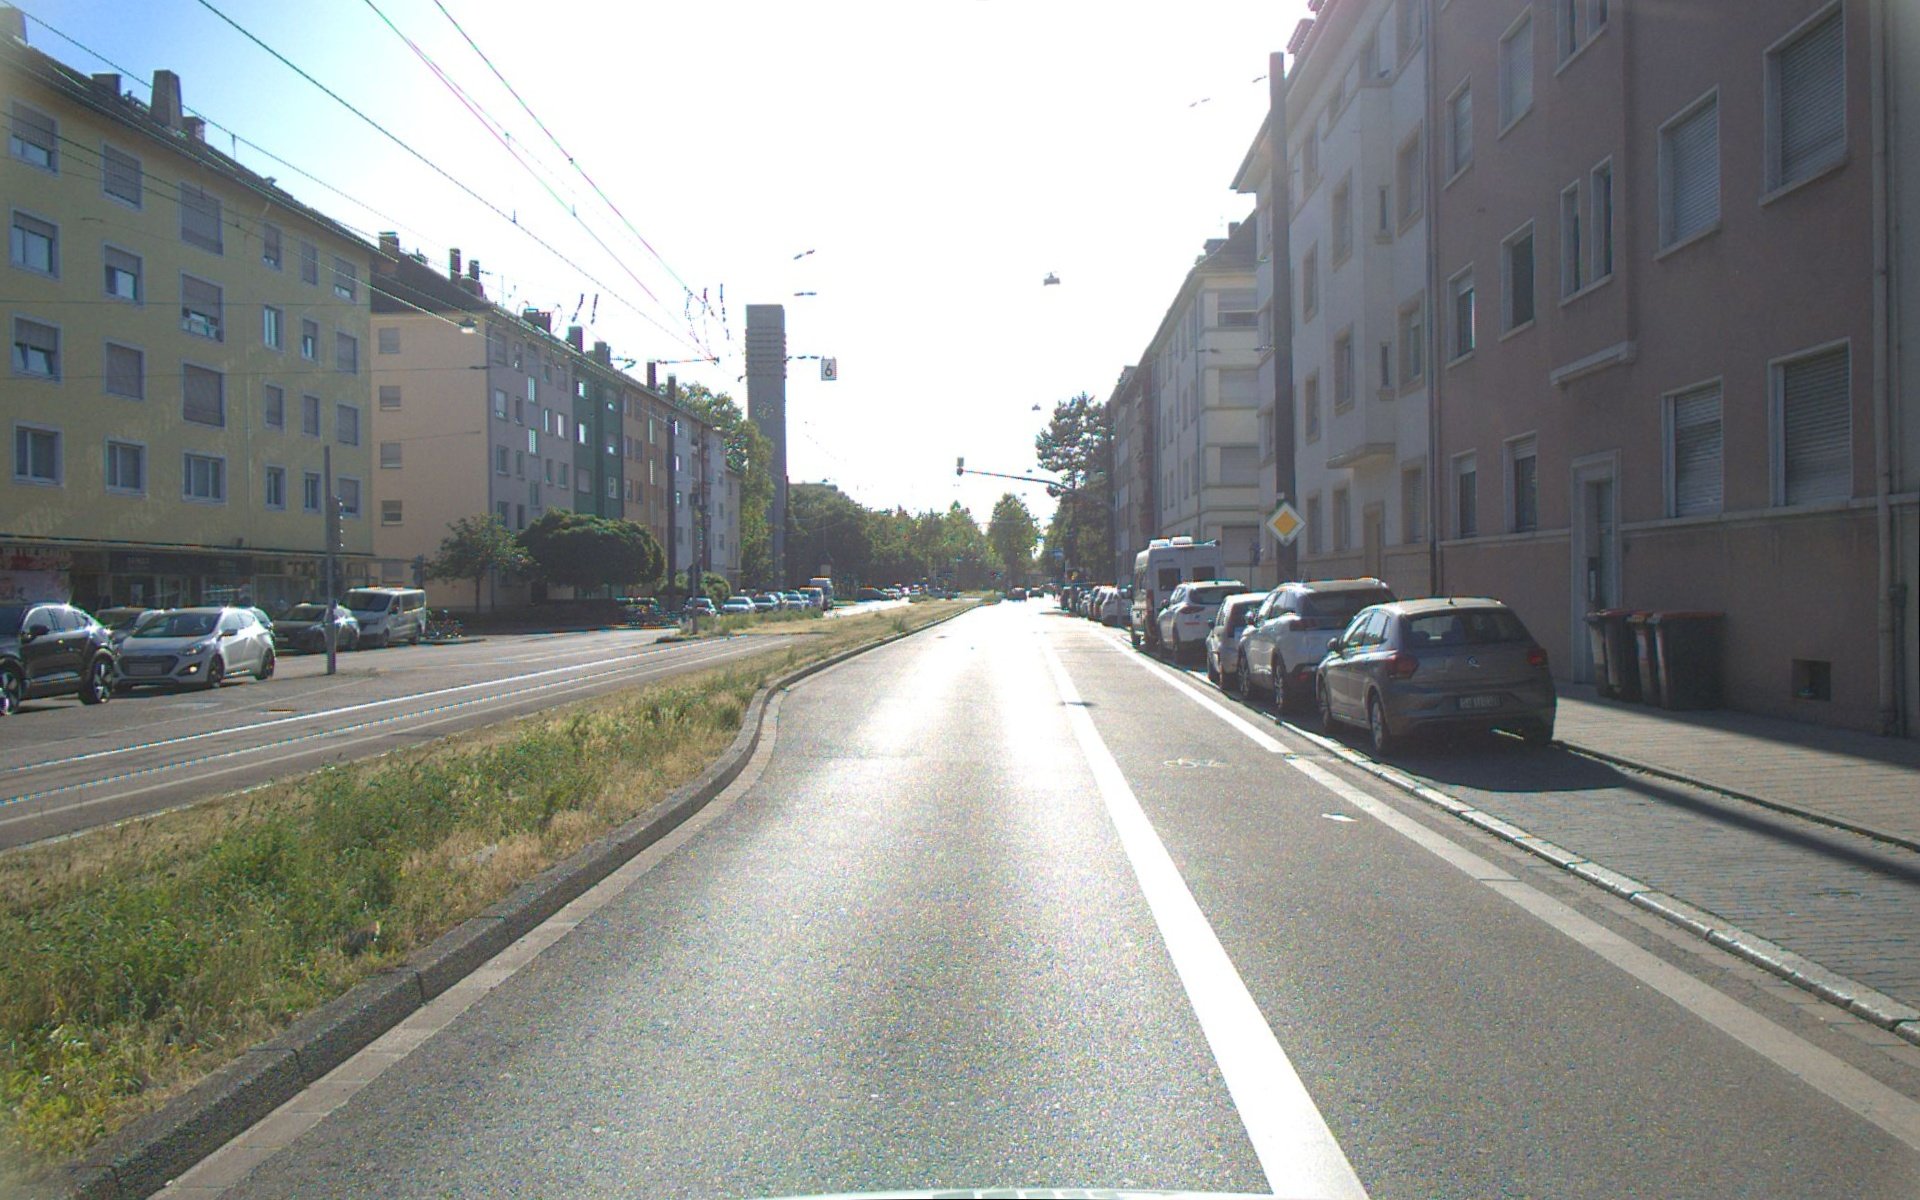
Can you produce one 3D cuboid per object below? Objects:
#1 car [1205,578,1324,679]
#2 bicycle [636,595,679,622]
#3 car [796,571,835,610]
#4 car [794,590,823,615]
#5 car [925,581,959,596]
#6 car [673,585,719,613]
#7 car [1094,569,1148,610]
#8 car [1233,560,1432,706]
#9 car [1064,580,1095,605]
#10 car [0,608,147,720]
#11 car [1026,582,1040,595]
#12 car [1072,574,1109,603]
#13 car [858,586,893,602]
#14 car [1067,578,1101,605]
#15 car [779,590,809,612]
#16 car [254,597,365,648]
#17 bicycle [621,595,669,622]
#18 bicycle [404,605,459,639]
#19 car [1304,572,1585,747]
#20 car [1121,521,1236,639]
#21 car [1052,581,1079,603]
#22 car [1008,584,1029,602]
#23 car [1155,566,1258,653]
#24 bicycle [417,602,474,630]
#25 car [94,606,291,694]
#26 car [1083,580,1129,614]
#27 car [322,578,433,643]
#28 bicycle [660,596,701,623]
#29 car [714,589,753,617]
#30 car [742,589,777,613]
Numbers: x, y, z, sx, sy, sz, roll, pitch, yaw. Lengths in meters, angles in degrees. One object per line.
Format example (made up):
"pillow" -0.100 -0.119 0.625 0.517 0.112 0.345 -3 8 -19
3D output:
"car" 4.926 0.417 27.093 1.471 1.450 3.455 -4 1 4
"bicycle" -15.720 0.445 85.979 2.085 1.348 0.896 -2 -2 -4
"car" -13.342 -0.837 152.909 2.924 3.294 6.792 -2 -2 0
"car" -13.183 0.213 144.064 1.953 1.999 4.751 -2 -2 0
"car" -2.355 -1.502 212.914 3.922 1.713 1.991 -1 -2 -16
"car" -15.049 -0.035 94.544 1.953 1.479 3.999 -2 -2 0
"car" 6.702 -0.413 69.100 1.858 1.513 3.739 -2 -2 0
"car" 4.894 0.375 22.302 1.628 1.672 4.184 -4 1 0
"car" 8.238 -0.498 114.352 1.858 1.513 3.739 -2 -2 1
"car" -13.964 0.904 24.102 1.923 1.506 4.569 -2 0 0
"car" 10.163 -1.600 230.829 1.805 1.716 4.000 -2 -2 1
"car" 7.565 -0.645 95.869 1.858 1.513 3.739 -2 -2 1
"car" -10.783 -0.786 211.118 4.213 1.814 2.000 -2 -2 3
"car" 7.773 -0.508 103.696 1.858 1.513 3.739 -2 -2 1
"car" -13.266 0.105 132.425 1.953 1.581 3.999 -2 -2 0
"car" -20.704 0.744 52.841 1.727 1.514 3.918 -2 -2 5
"bicycle" -16.029 0.436 84.188 2.262 1.328 0.913 -2 -2 -2
"bicycle" -20.219 0.838 63.279 1.939 1.227 0.691 -1 -2 -25
"car" 4.879 0.520 17.248 1.736 1.496 4.095 -4 1 1
"car" 5.514 -0.503 42.468 2.114 2.697 5.644 -4 1 1
"car" 8.268 -0.607 129.654 1.858 1.513 3.739 -2 -2 1
"car" 6.592 -0.778 186.524 1.955 1.814 3.995 -1 -2 -5
"car" 5.198 0.170 35.299 1.557 1.663 3.918 -4 1 1
"bicycle" -20.293 0.639 65.252 2.037 1.040 0.801 -1 -2 -11
"car" -14.177 0.873 30.832 1.786 1.471 4.282 -2 0 -2
"car" 7.011 -0.120 79.665 1.858 1.513 3.739 -2 -2 0
"car" -20.670 0.360 58.957 1.962 2.142 5.306 -2 0 1
"bicycle" -14.939 0.496 88.316 2.092 1.348 0.893 -1 -2 -16
"car" -14.686 0.211 107.363 1.953 1.609 3.999 -2 -2 0
"car" -14.248 0.068 117.683 1.953 1.581 3.999 -2 -2 0
